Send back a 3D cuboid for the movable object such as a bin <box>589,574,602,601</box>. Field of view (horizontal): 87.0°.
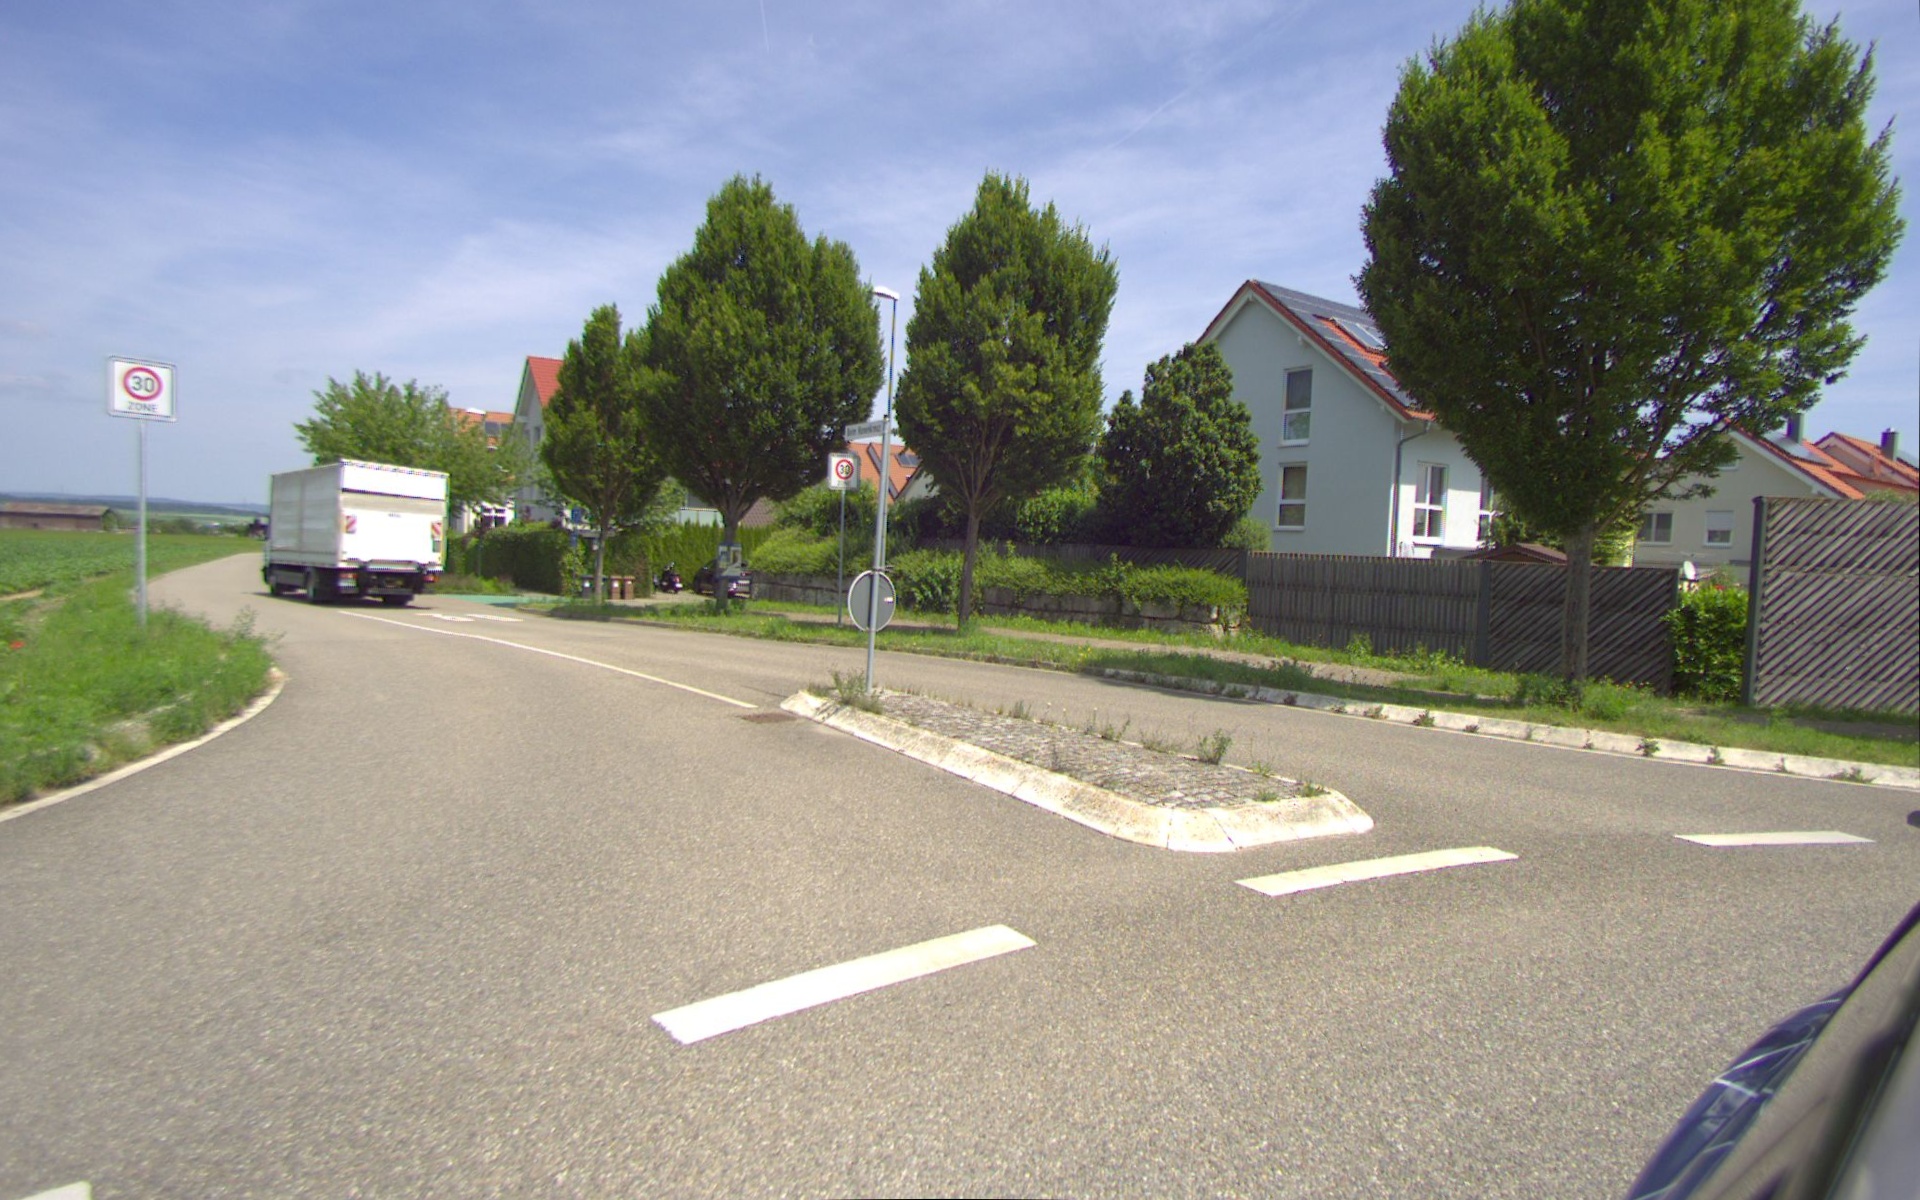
[{"bbox_3d":[-13.928,-0.490,38.648,0.432,0.978,0.500,2,2,-19],"label":"movable object such as a bin"}]

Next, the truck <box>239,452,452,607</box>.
[{"bbox_3d":[-17.715,-1.908,28.775,9.353,3.716,2.732,3,1,44],"label":"truck"}]

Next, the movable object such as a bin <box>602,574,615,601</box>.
[{"bbox_3d":[-13.477,-0.478,38.809,0.432,0.978,0.500,2,2,-19],"label":"movable object such as a bin"}]

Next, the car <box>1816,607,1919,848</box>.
[{"bbox_3d":[8.249,0.944,6.091,4.396,1.482,1.661,4,2,30],"label":"car"}]

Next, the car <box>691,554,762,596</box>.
[{"bbox_3d":[-10.009,-1.083,43.176,1.678,1.571,4.004,1,3,-33],"label":"car"}]

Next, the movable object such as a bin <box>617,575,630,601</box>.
[{"bbox_3d":[-12.967,-0.465,38.993,0.432,0.978,0.500,2,2,-19],"label":"movable object such as a bin"}]

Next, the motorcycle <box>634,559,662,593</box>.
[{"bbox_3d":[-13.112,-1.007,42.511,0.833,1.364,1.665,1,3,-26],"label":"motorcycle"}]

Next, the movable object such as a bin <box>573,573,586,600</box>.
[{"bbox_3d":[-14.448,-0.504,38.453,0.432,0.978,0.500,2,2,-19],"label":"movable object such as a bin"}]

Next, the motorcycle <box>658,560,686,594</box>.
[{"bbox_3d":[-12.215,-0.993,42.941,0.833,1.364,1.665,1,3,-26],"label":"motorcycle"}]
